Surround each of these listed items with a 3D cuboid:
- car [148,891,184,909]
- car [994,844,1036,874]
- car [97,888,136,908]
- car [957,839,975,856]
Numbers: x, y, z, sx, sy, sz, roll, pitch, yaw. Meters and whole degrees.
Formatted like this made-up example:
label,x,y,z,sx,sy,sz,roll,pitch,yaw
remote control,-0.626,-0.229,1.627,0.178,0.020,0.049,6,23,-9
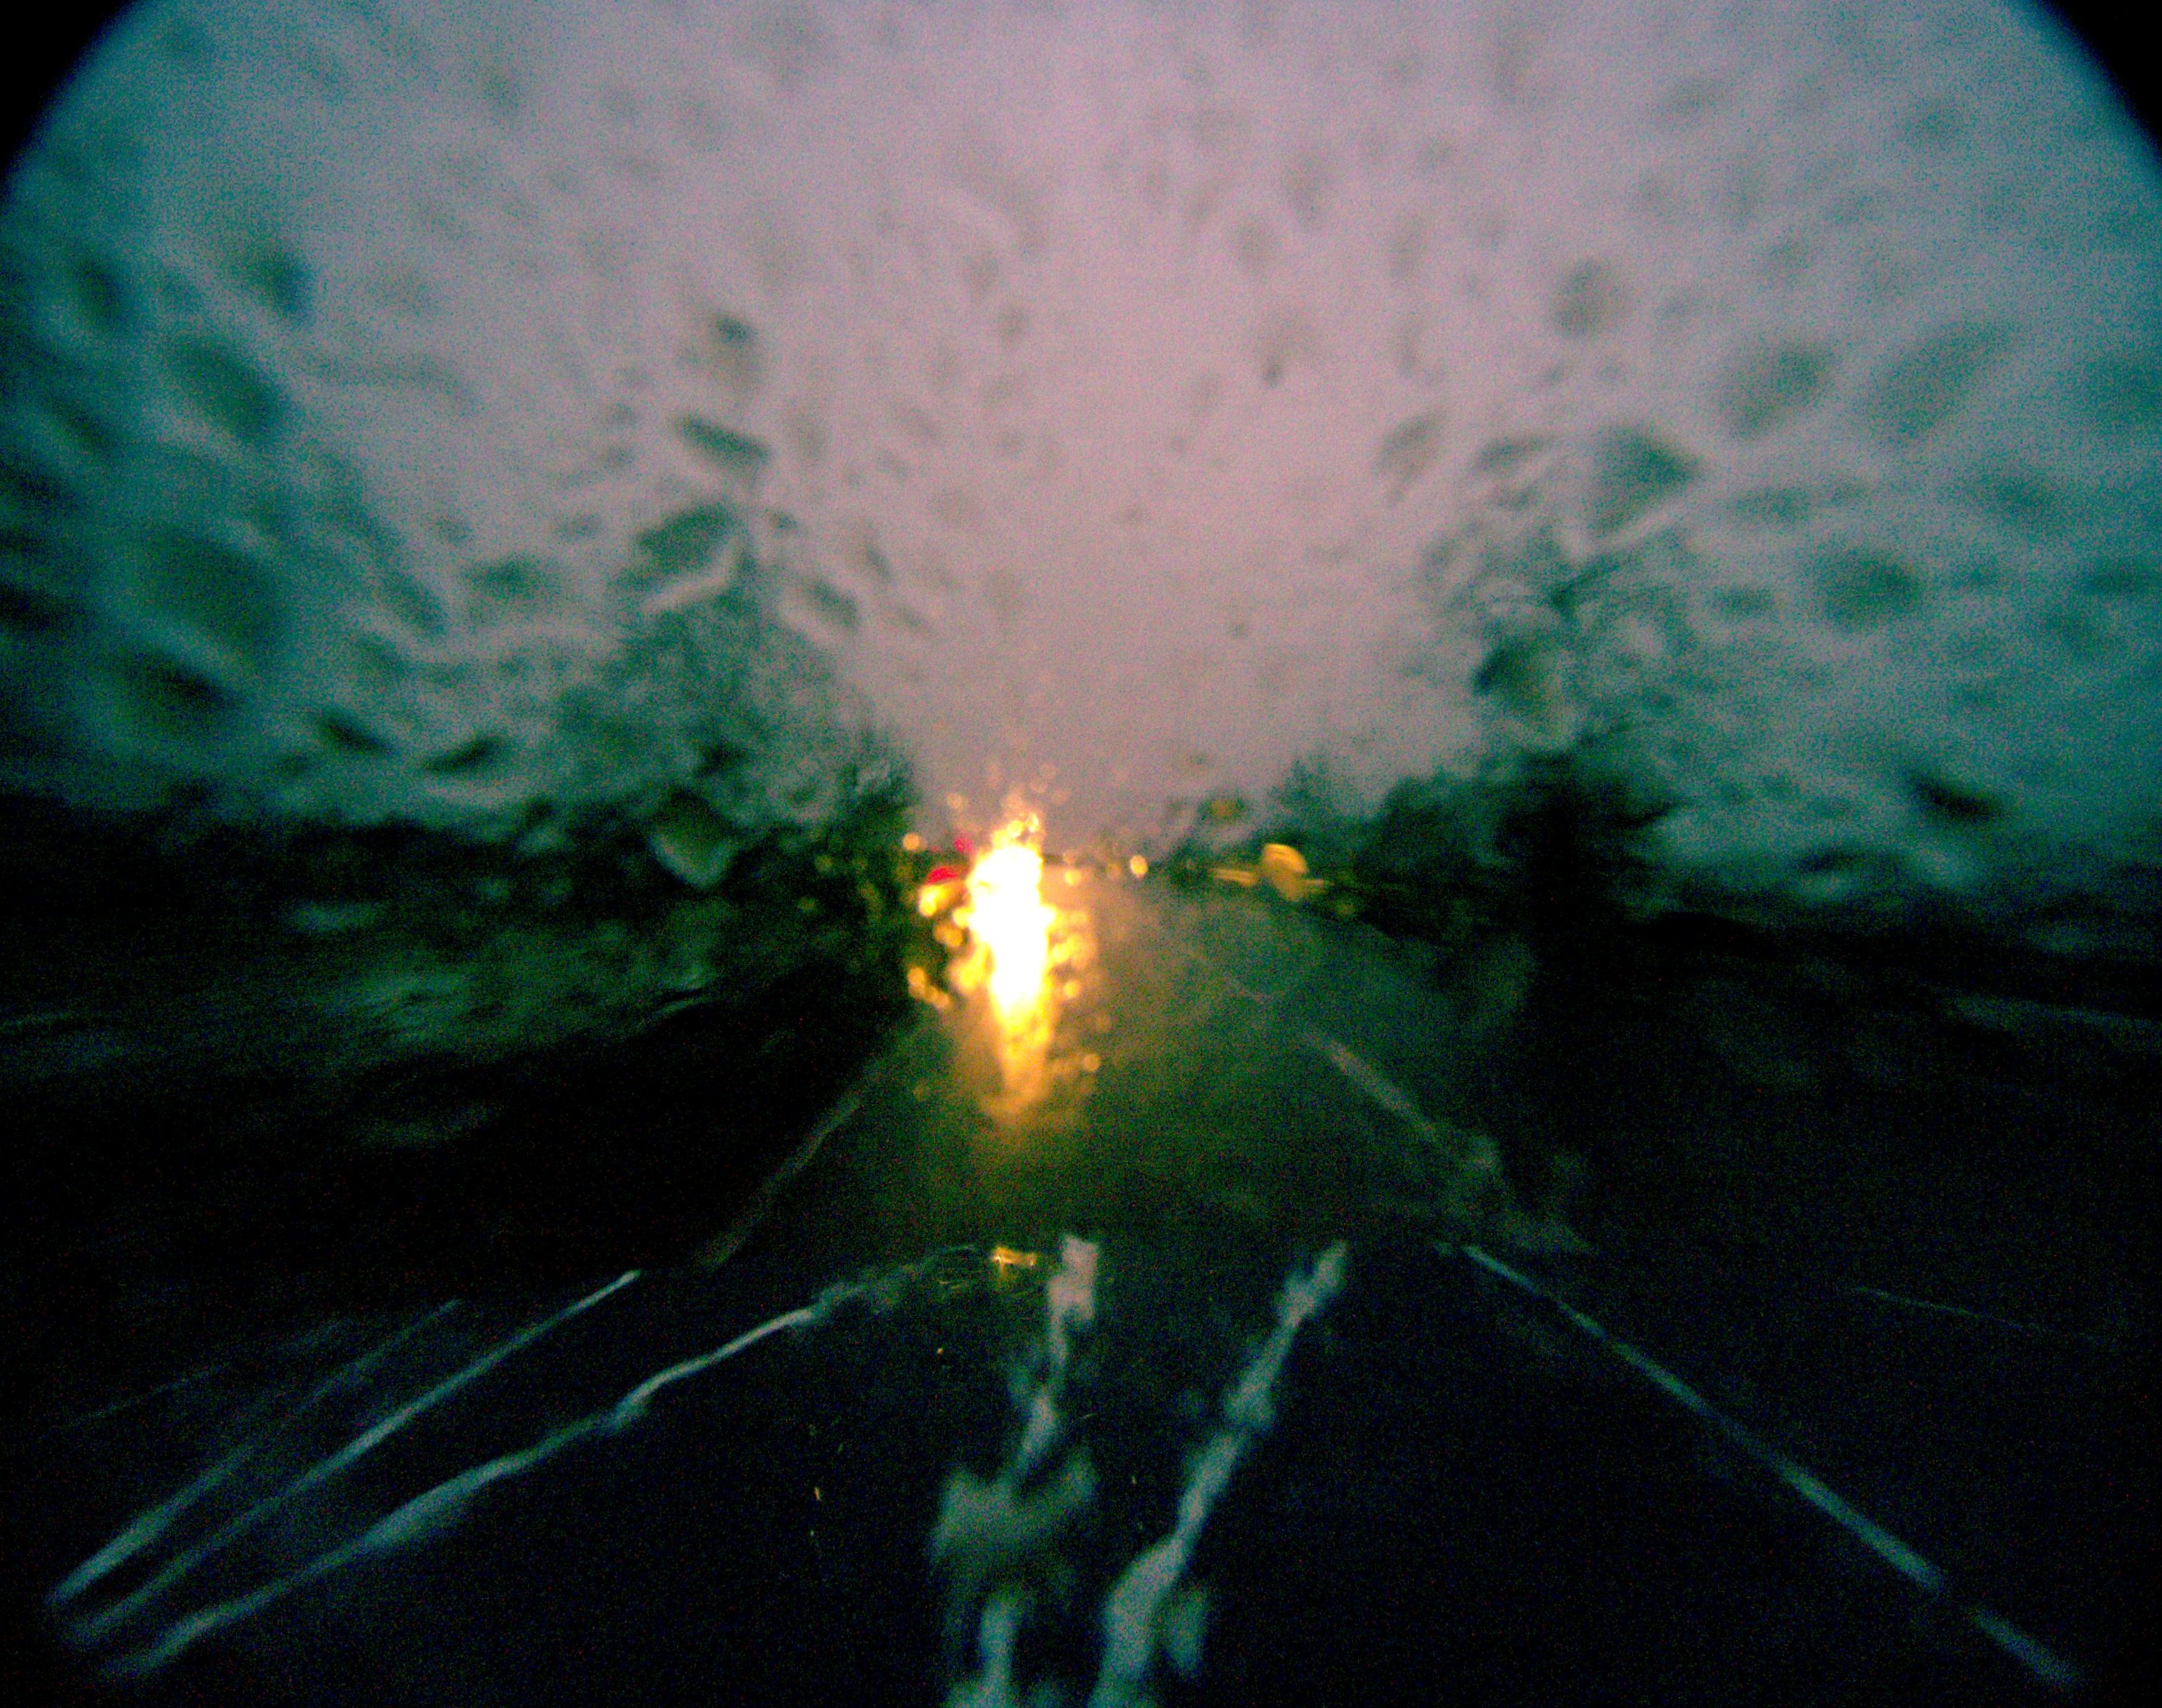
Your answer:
label,x,y,z,sx,sy,sz,roll,pitch,yaw
car,-97.564,4.873,80.994,3.988,1.718,2.004,0,1,33
car,-3.807,0.324,43.178,2.104,1.565,4.797,1,-2,-8
car,-96.402,4.371,75.940,3.988,1.718,2.004,0,1,33
car,-13.701,-0.779,90.258,1.890,1.853,5.000,-1,1,-12
